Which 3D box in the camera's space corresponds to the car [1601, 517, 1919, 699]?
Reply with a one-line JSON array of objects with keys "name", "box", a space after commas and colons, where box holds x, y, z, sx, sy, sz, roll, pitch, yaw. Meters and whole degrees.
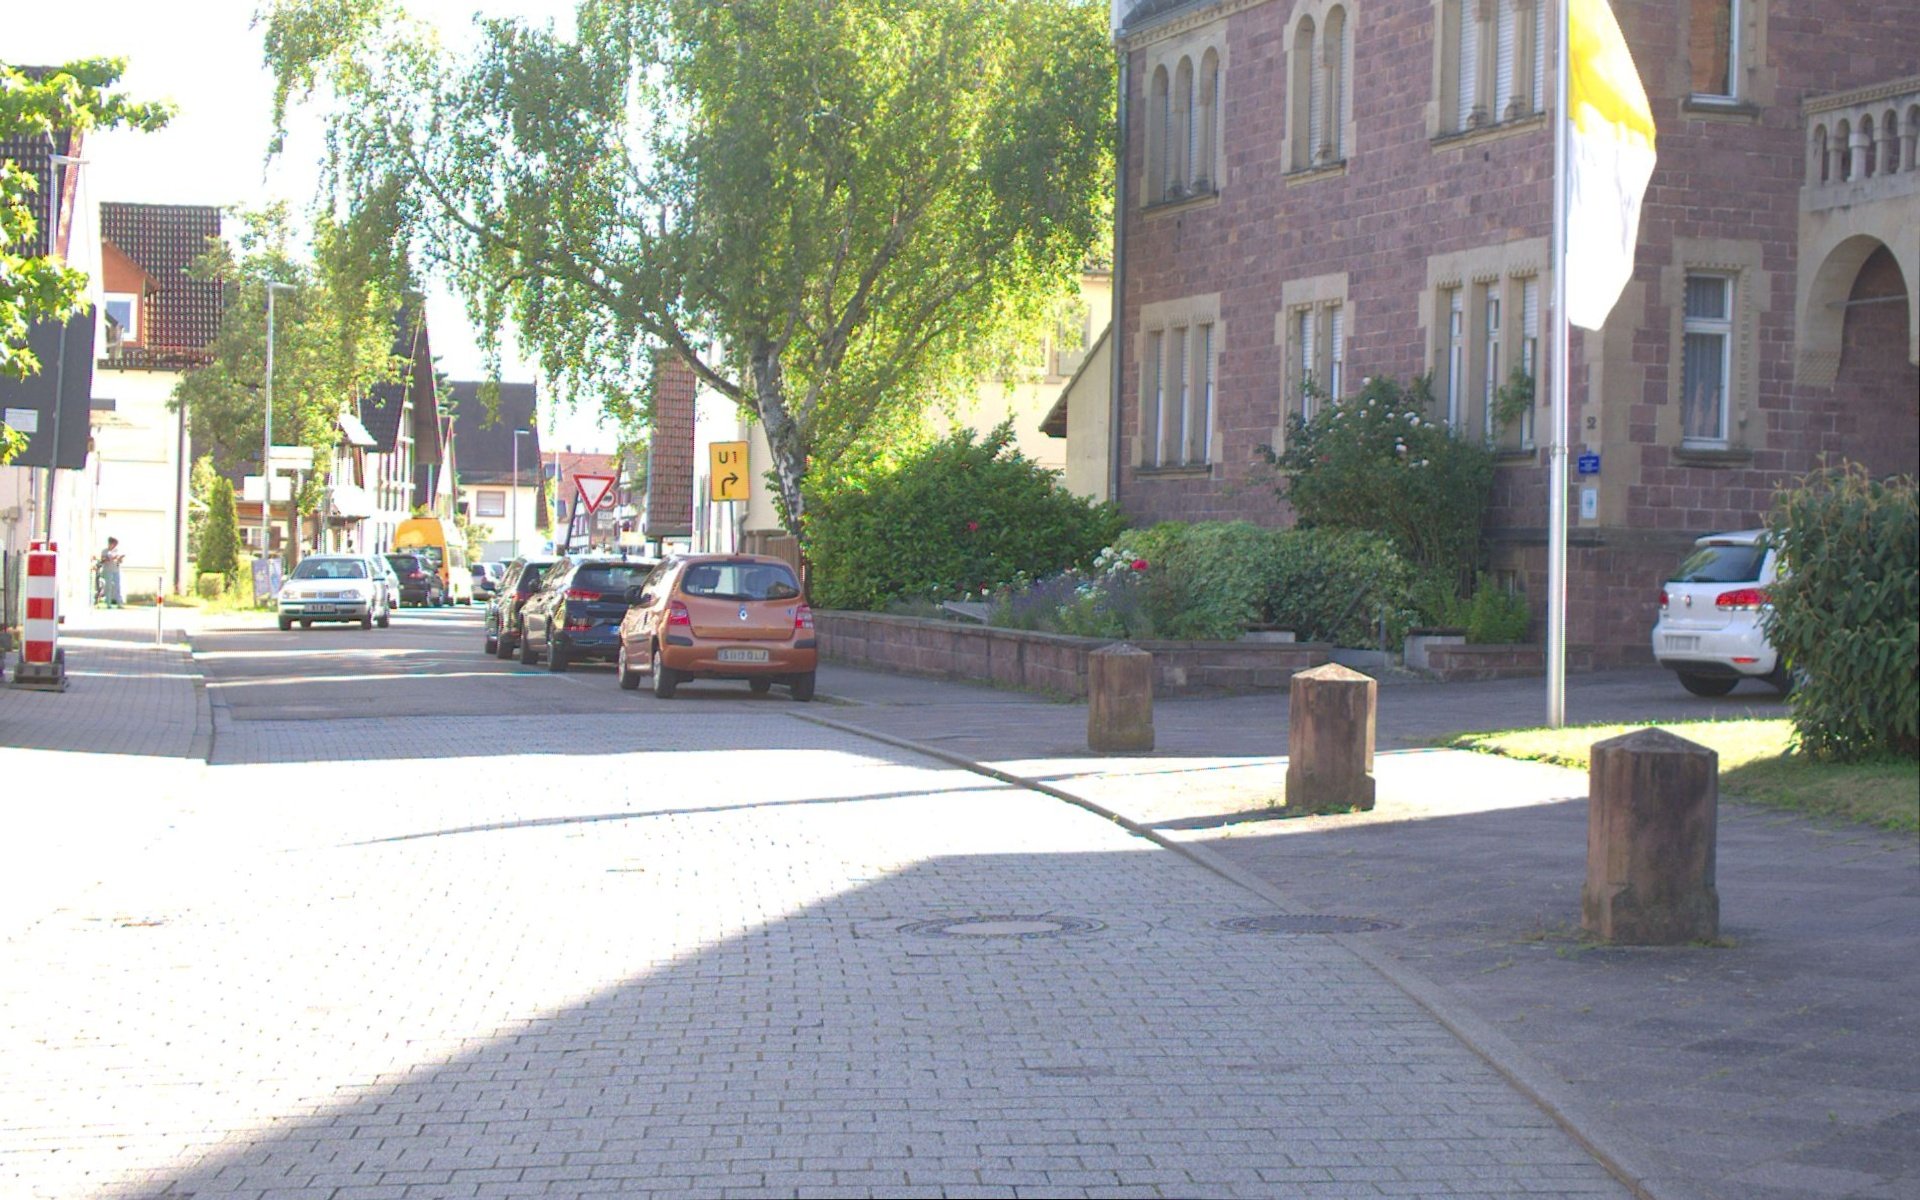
[{"name": "car", "box": [7.840, 0.049, 30.162, 3.897, 1.491, 1.905, -1, 0, -20]}]

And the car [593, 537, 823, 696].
[{"name": "car", "box": [-2.679, 0.133, 35.775, 1.647, 1.474, 3.935, 3, 1, -14]}]

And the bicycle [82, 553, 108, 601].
[{"name": "bicycle", "box": [-19.569, -0.523, 77.772, 0.423, 1.049, 1.381, 2, -1, -10]}]

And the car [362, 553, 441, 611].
[{"name": "car", "box": [-16.834, -0.527, 103.843, 1.806, 1.616, 3.881, 3, -1, -2]}]

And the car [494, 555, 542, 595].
[{"name": "car", "box": [-16.932, -0.953, 131.762, 1.588, 1.438, 3.615, 3, 0, -5]}]

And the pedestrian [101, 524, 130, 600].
[{"name": "pedestrian", "box": [-19.171, -0.851, 78.009, 0.483, 1.687, 0.557, 3, -2, -7]}]

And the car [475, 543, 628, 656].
[{"name": "car", "box": [-5.818, -0.042, 48.592, 1.807, 1.431, 4.287, 3, 1, -10]}]

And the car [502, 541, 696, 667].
[{"name": "car", "box": [-4.673, 0.016, 43.998, 1.807, 1.431, 4.287, 3, 1, -14]}]

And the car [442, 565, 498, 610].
[{"name": "car", "box": [-16.858, -0.419, 118.461, 1.645, 1.428, 3.615, 3, 0, -5]}]

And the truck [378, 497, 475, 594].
[{"name": "truck", "box": [-16.936, -1.689, 109.423, 2.268, 2.859, 5.783, 3, -1, -2]}]

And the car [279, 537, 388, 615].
[{"name": "car", "box": [-11.838, -0.458, 65.129, 1.670, 1.398, 3.893, 2, 0, -5]}]
